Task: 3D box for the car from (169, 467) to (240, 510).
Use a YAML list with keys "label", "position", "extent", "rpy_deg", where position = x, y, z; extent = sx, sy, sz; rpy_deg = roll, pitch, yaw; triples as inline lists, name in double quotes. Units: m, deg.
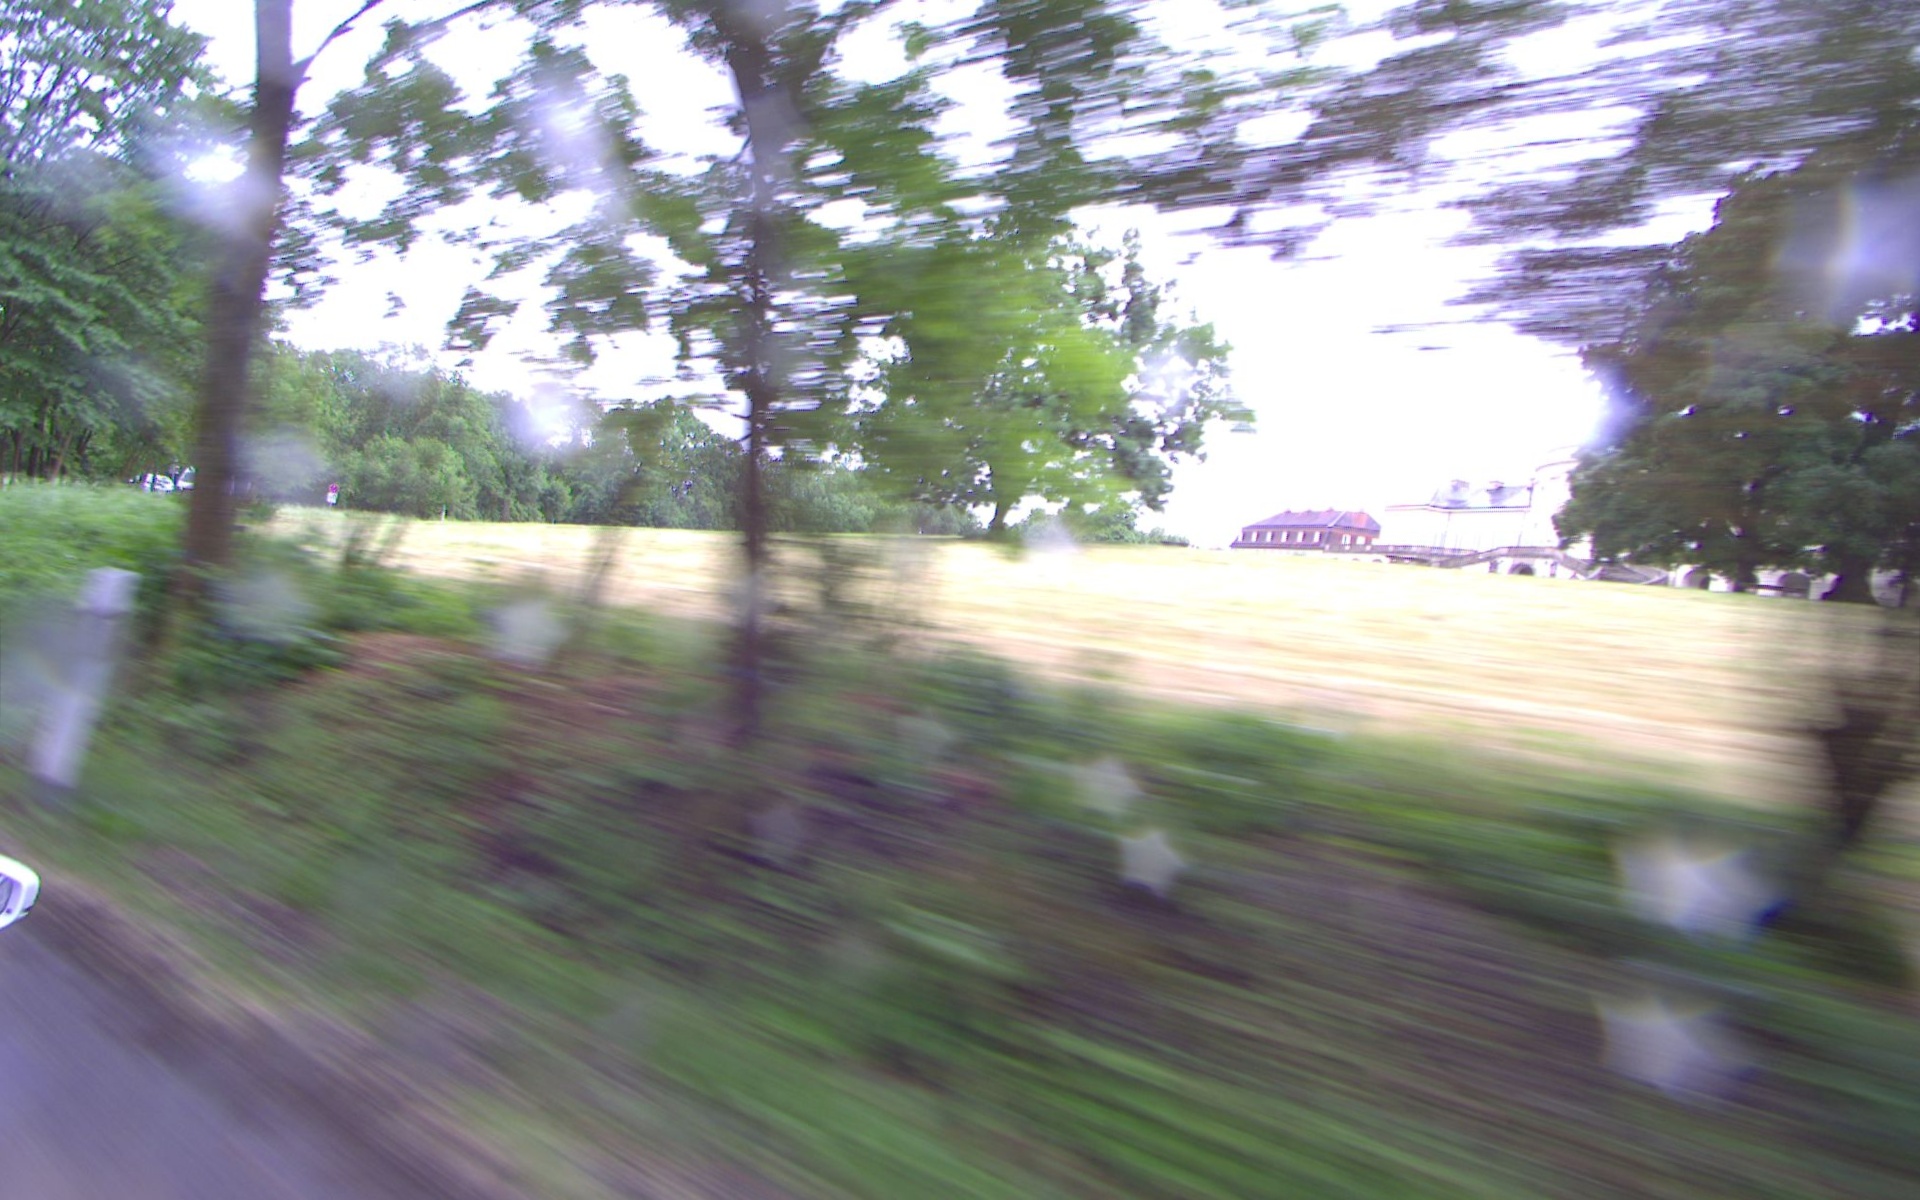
- label: "car"
  position: [-55.678, -8.178, 74.304]
  extent: [2.246, 2.734, 6.018]
  rpy_deg: [5, 3, -19]
